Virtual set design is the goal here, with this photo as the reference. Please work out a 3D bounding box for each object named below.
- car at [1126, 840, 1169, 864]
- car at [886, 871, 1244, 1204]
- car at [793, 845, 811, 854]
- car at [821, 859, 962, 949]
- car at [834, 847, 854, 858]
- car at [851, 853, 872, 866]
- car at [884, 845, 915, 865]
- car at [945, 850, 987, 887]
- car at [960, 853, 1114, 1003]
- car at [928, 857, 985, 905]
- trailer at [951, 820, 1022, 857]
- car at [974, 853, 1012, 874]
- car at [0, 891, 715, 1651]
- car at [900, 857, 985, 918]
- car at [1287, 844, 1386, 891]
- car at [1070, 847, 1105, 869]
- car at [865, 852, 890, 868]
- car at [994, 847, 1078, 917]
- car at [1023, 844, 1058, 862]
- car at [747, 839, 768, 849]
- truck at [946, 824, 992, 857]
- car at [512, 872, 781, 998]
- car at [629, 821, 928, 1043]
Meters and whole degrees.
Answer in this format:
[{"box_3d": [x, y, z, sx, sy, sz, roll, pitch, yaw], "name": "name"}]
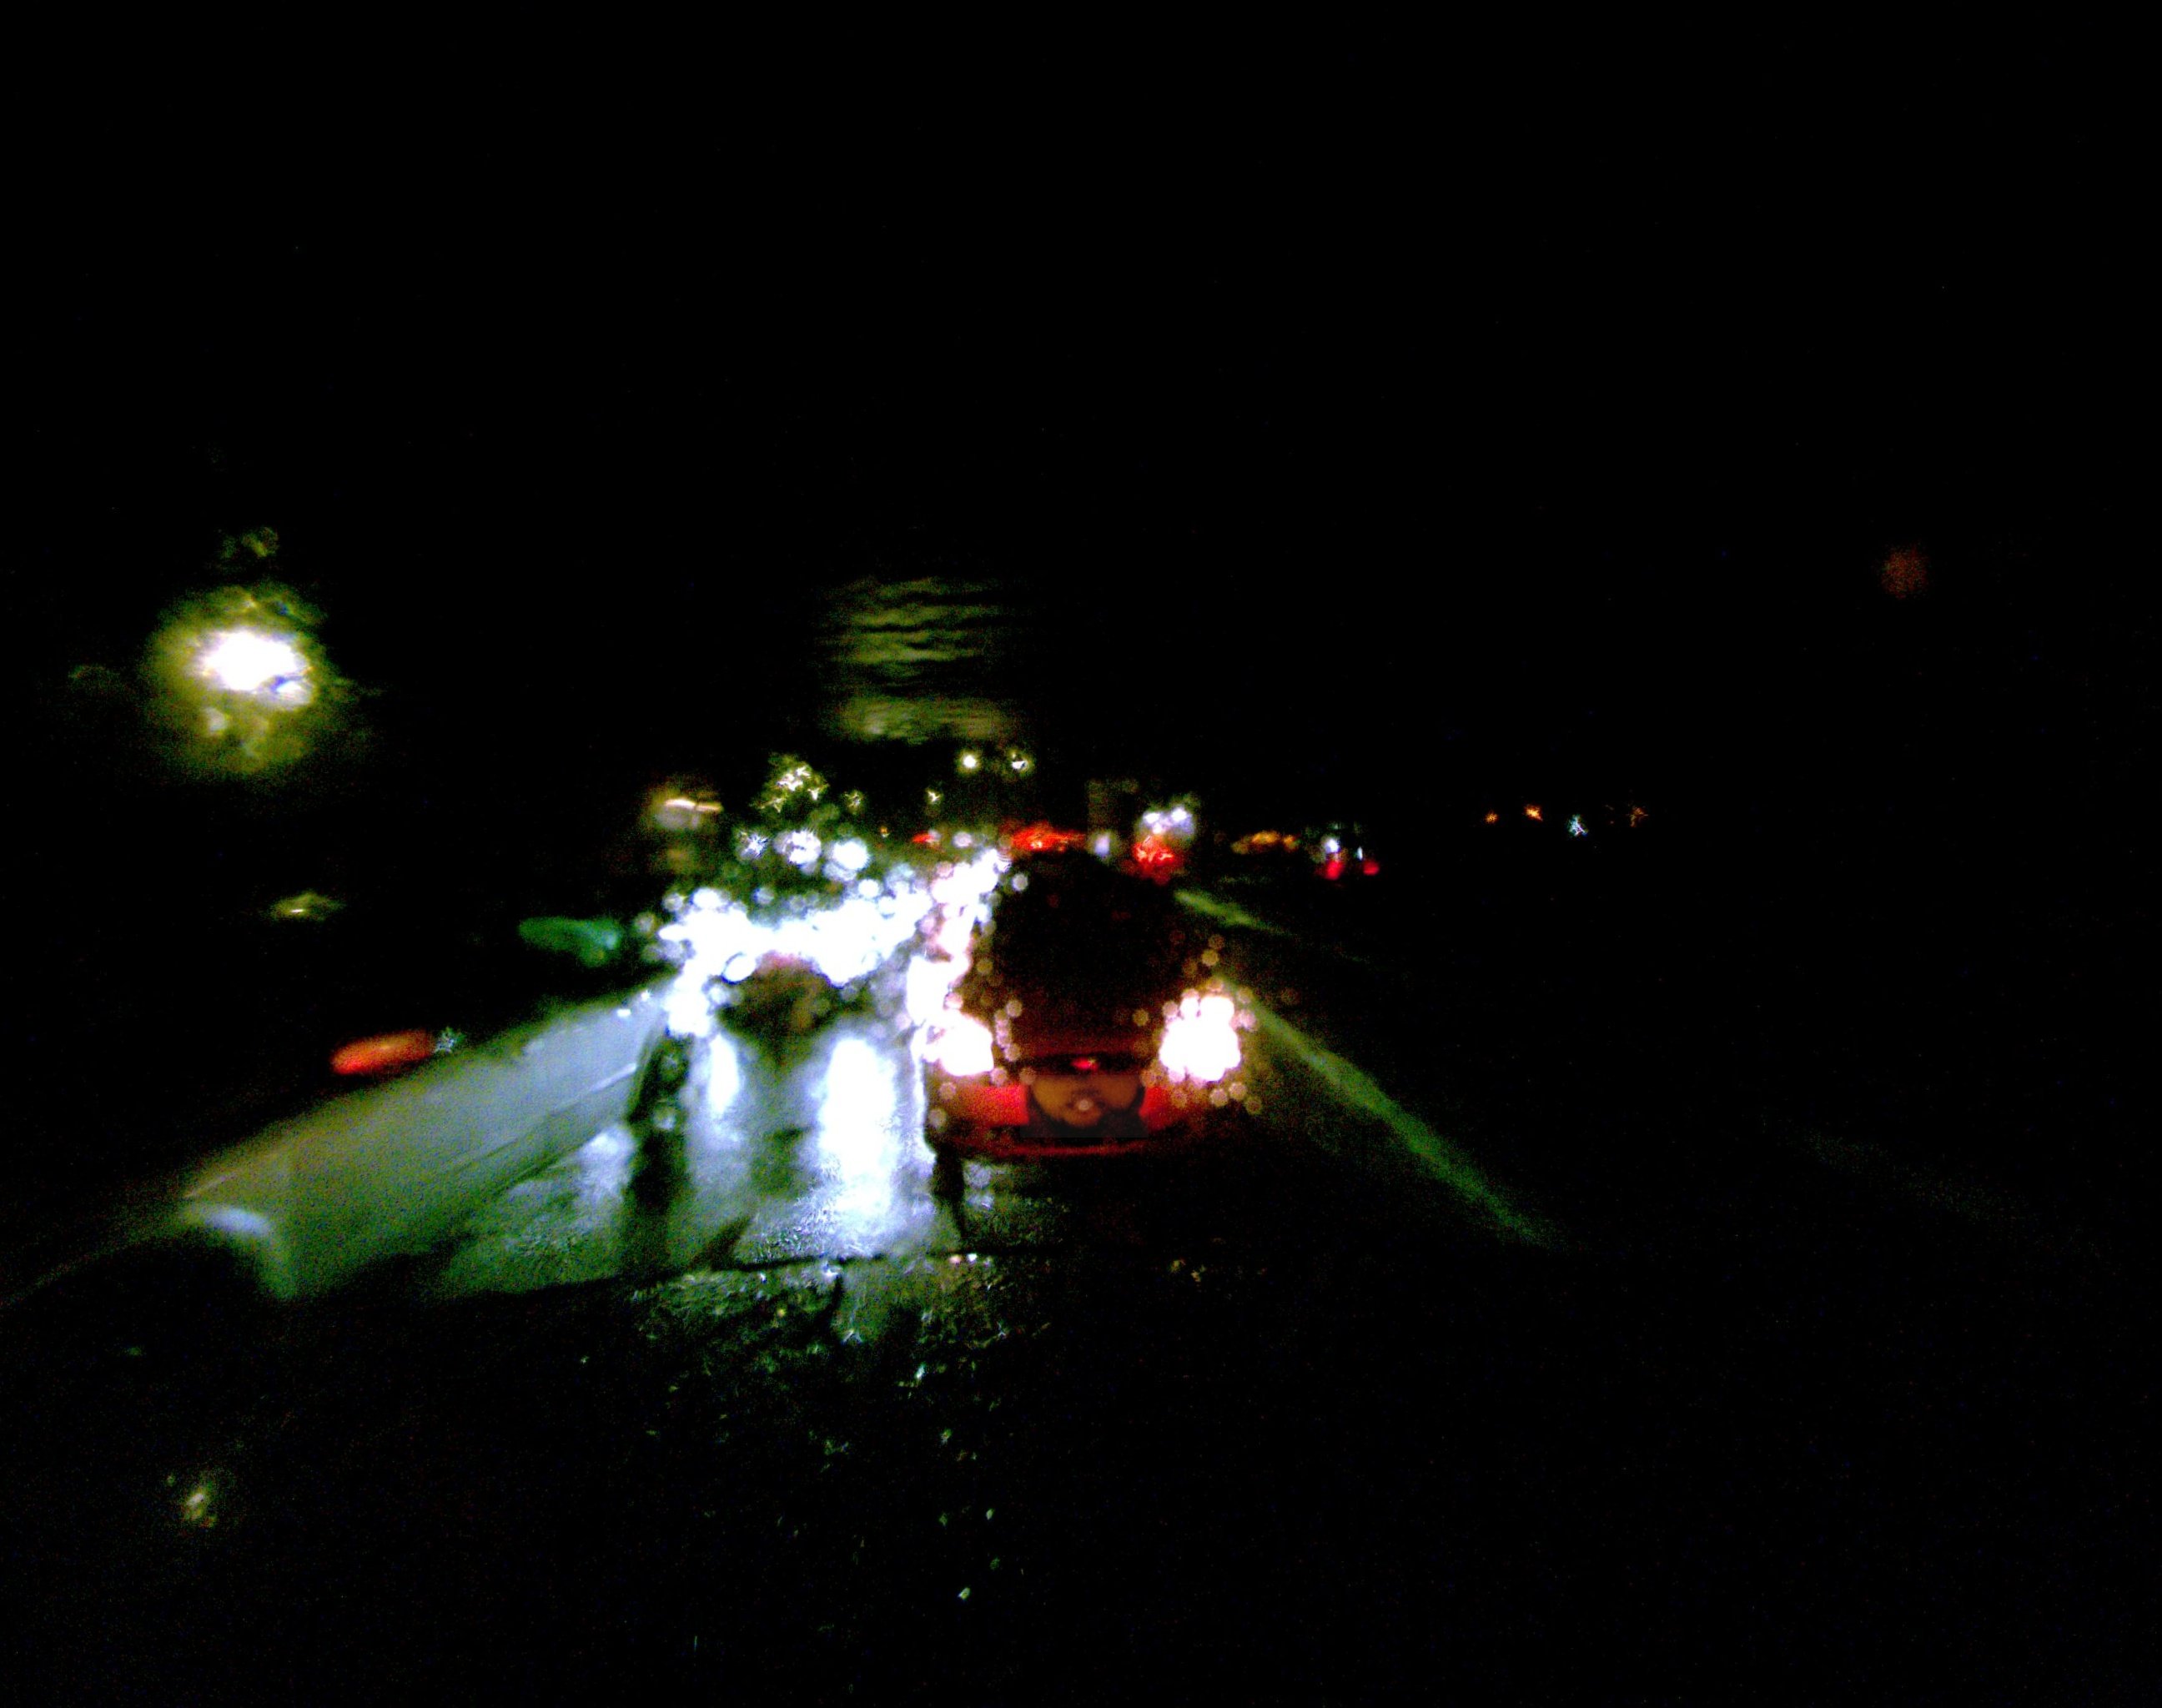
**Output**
[{"box_3d": [5.191, -0.133, 59.882, 1.861, 1.739, 4.500, -3, 1, -16], "name": "car"}, {"box_3d": [-0.047, 0.896, 5.487, 1.603, 1.360, 3.942, -2, 1, 1], "name": "car"}, {"box_3d": [-47.672, -0.769, 129.794, 1.885, 1.463, 3.990, -3, 1, -34], "name": "car"}, {"box_3d": [-3.742, 0.933, 15.718, 1.869, 1.503, 3.766, -2, 1, 1], "name": "car"}, {"box_3d": [-34.227, -0.159, 109.756, 1.885, 1.463, 3.991, -3, 1, -29], "name": "car"}, {"box_3d": [-27.404, 0.653, 94.766, 1.884, 1.463, 3.992, -3, 1, -25], "name": "car"}, {"box_3d": [-14.061, 0.053, 58.673, 1.855, 1.423, 4.494, -3, 2, -18], "name": "car"}, {"box_3d": [-5.390, 0.651, 36.024, 1.743, 1.581, 3.997, -2, 1, -6], "name": "car"}, {"box_3d": [-0.468, 0.839, 10.597, 1.683, 1.591, 3.996, -2, 1, 1], "name": "car"}, {"box_3d": [-4.385, 0.895, 27.179, 1.683, 1.463, 3.998, -2, 1, -5], "name": "car"}, {"box_3d": [-12.115, -1.803, 95.448, 3.975, 4.152, 13.889, -3, 1, -29], "name": "trailer"}, {"box_3d": [-6.521, 0.714, 56.046, 1.855, 1.476, 4.478, -1, 0, -18], "name": "car"}, {"box_3d": [-3.187, 0.995, 2.658, 1.792, 1.359, 3.999, -2, 2, 0], "name": "car"}, {"box_3d": [-3.923, 0.887, 22.151, 1.629, 1.494, 3.999, -2, 1, 1], "name": "car"}, {"box_3d": [9.326, 0.504, 28.109, 1.912, 1.578, 4.080, 1, -1, -6], "name": "car"}, {"box_3d": [0.491, 0.334, 65.538, 1.911, 1.731, 4.392, -2, 1, -15], "name": "car"}, {"box_3d": [-19.795, 0.589, 73.796, 1.884, 1.463, 3.993, -3, 1, -21], "name": "car"}, {"box_3d": [-1.113, 0.634, 19.682, 1.881, 1.534, 3.999, -2, 1, -2], "name": "car"}, {"box_3d": [-4.181, -0.107, 77.531, 1.973, 1.731, 4.909, -3, 1, -22], "name": "car"}, {"box_3d": [-61.917, -1.933, 145.502, 4.905, 1.731, 1.975, -2, 1, 44], "name": "car"}, {"box_3d": [-14.928, -1.751, 100.665, 3.975, 4.152, 6.362, -3, 1, -29], "name": "truck"}, {"box_3d": [-6.418, 1.083, 11.952, 1.853, 1.476, 4.627, -1, 0, -5], "name": "car"}, {"box_3d": [-3.370, 0.737, 9.556, 1.999, 2.076, 4.347, -2, 1, -1], "name": "car"}]
